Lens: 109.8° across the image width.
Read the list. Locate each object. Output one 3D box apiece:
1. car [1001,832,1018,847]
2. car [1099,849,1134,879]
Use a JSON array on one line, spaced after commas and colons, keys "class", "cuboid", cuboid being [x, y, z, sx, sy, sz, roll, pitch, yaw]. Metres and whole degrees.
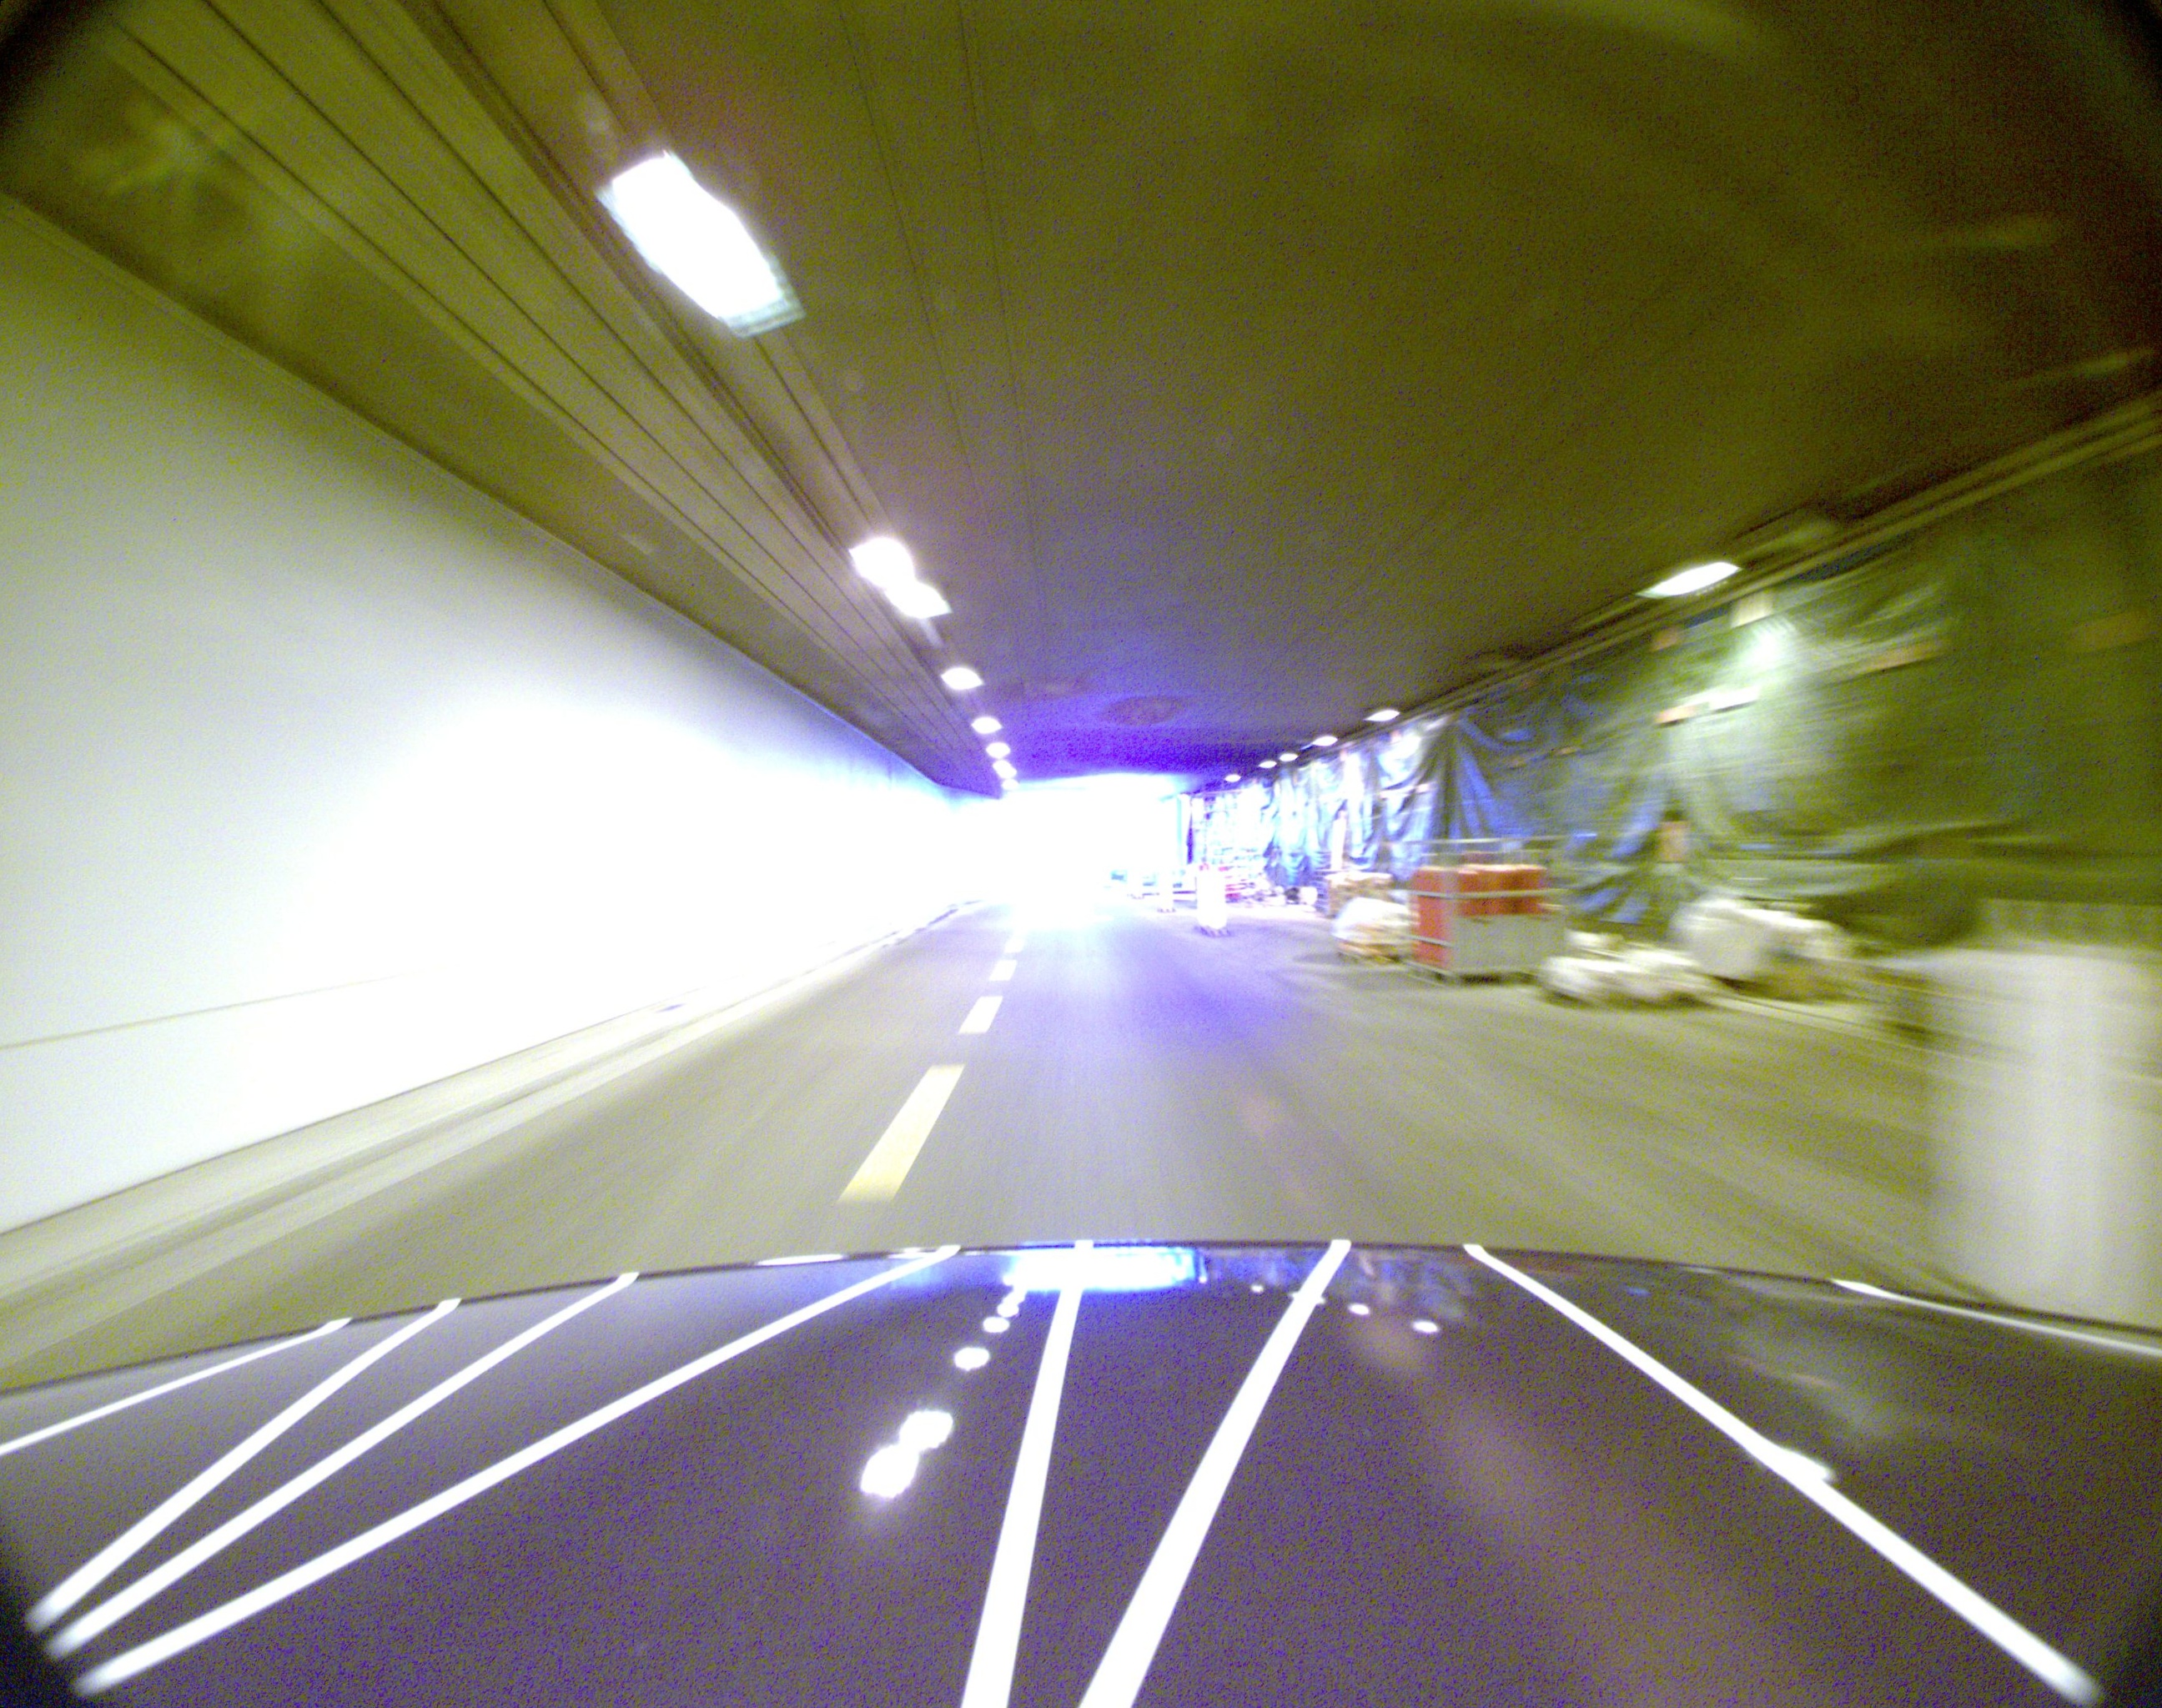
[{"class": "car", "cuboid": [-9.873, -1.963, 105.117, 1.892, 2.002, 3.999, -2, 1, 0]}, {"class": "car", "cuboid": [2.246, 0.621, 48.699, 1.998, 1.743, 3.999, -2, 1, 0]}]
